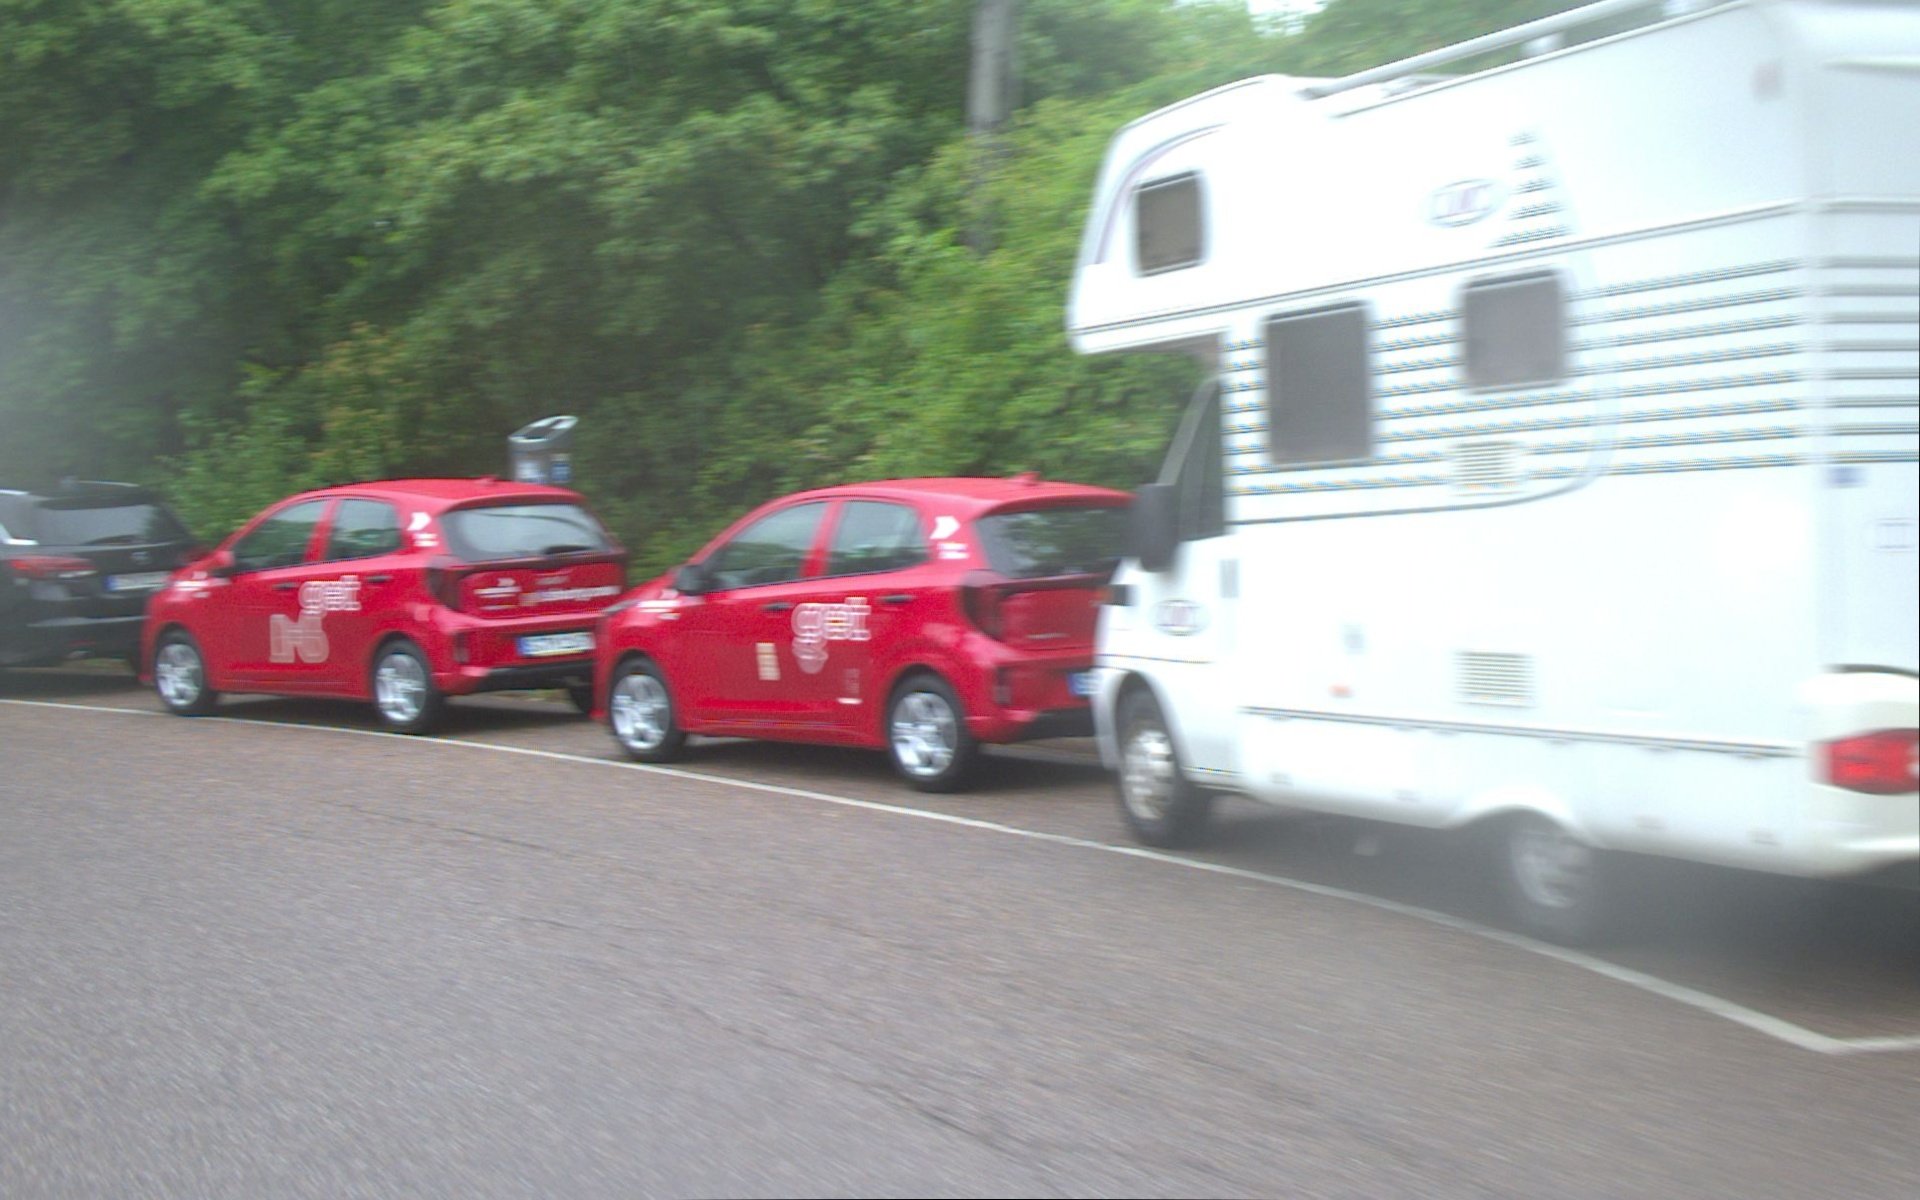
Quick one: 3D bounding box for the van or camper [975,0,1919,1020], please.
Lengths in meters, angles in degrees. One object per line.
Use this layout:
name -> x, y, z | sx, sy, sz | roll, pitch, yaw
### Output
van or camper -> 2.336, -0.504, 12.471 | 2.389, 2.934, 6.283 | -2, 3, -21

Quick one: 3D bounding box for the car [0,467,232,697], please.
car -> -7.486, -0.194, 25.286 | 4.591, 1.508, 1.720 | 2, 4, 41

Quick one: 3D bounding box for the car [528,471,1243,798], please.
car -> -0.478, 0.096, 17.841 | 1.642, 1.455, 3.805 | -4, 4, -40

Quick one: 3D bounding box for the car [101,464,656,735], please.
car -> -3.716, -0.073, 21.638 | 3.673, 1.508, 1.559 | 3, 5, 45
